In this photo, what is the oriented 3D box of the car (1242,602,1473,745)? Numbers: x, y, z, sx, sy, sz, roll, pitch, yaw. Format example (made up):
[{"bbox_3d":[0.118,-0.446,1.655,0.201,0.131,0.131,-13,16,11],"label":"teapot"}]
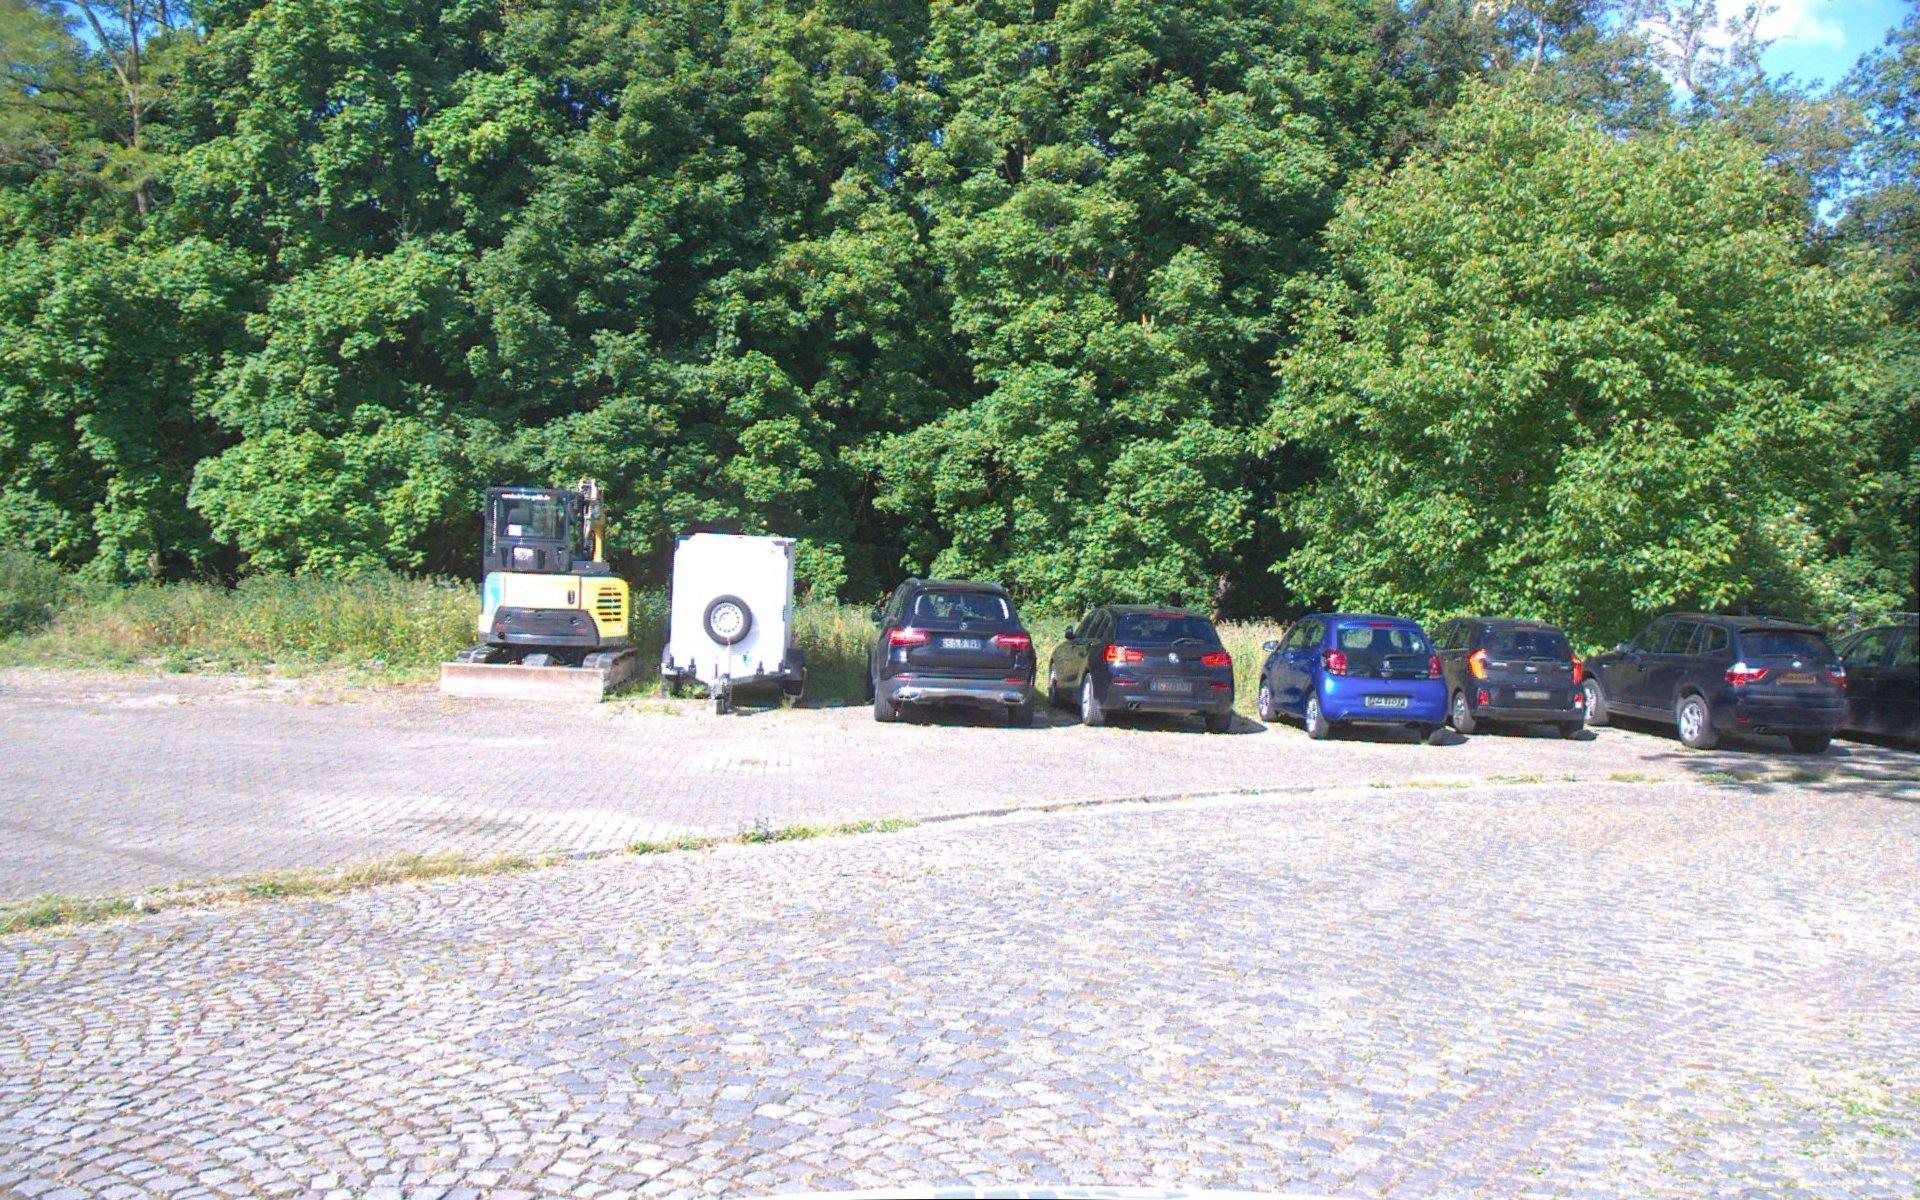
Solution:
[{"bbox_3d":[4.896,0.847,20.906,1.745,1.484,3.787,3,1,-4],"label":"car"}]

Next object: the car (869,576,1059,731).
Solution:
[{"bbox_3d":[-0.065,0.561,20.269,1.926,1.617,4.127,3,1,-5],"label":"car"}]

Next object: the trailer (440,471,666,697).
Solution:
[{"bbox_3d":[-5.106,-0.262,21.126,2.214,2.582,2.849,3,3,-3],"label":"trailer"}]

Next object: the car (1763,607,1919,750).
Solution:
[{"bbox_3d":[13.023,1.073,22.267,1.790,1.616,4.266,2,3,-9],"label":"car"}]

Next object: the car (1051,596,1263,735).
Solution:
[{"bbox_3d":[2.335,0.736,20.602,1.852,1.436,3.786,3,1,-5],"label":"car"}]

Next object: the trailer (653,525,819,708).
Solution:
[{"bbox_3d":[-2.779,0.178,21.063,1.782,2.086,2.848,3,1,-3],"label":"trailer"}]

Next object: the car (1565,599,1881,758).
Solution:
[{"bbox_3d":[10.007,0.956,22.122,1.838,1.659,4.269,3,2,-6],"label":"car"}]

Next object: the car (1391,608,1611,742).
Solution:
[{"bbox_3d":[7.125,0.931,22.148,1.703,1.476,3.725,3,1,1],"label":"car"}]
